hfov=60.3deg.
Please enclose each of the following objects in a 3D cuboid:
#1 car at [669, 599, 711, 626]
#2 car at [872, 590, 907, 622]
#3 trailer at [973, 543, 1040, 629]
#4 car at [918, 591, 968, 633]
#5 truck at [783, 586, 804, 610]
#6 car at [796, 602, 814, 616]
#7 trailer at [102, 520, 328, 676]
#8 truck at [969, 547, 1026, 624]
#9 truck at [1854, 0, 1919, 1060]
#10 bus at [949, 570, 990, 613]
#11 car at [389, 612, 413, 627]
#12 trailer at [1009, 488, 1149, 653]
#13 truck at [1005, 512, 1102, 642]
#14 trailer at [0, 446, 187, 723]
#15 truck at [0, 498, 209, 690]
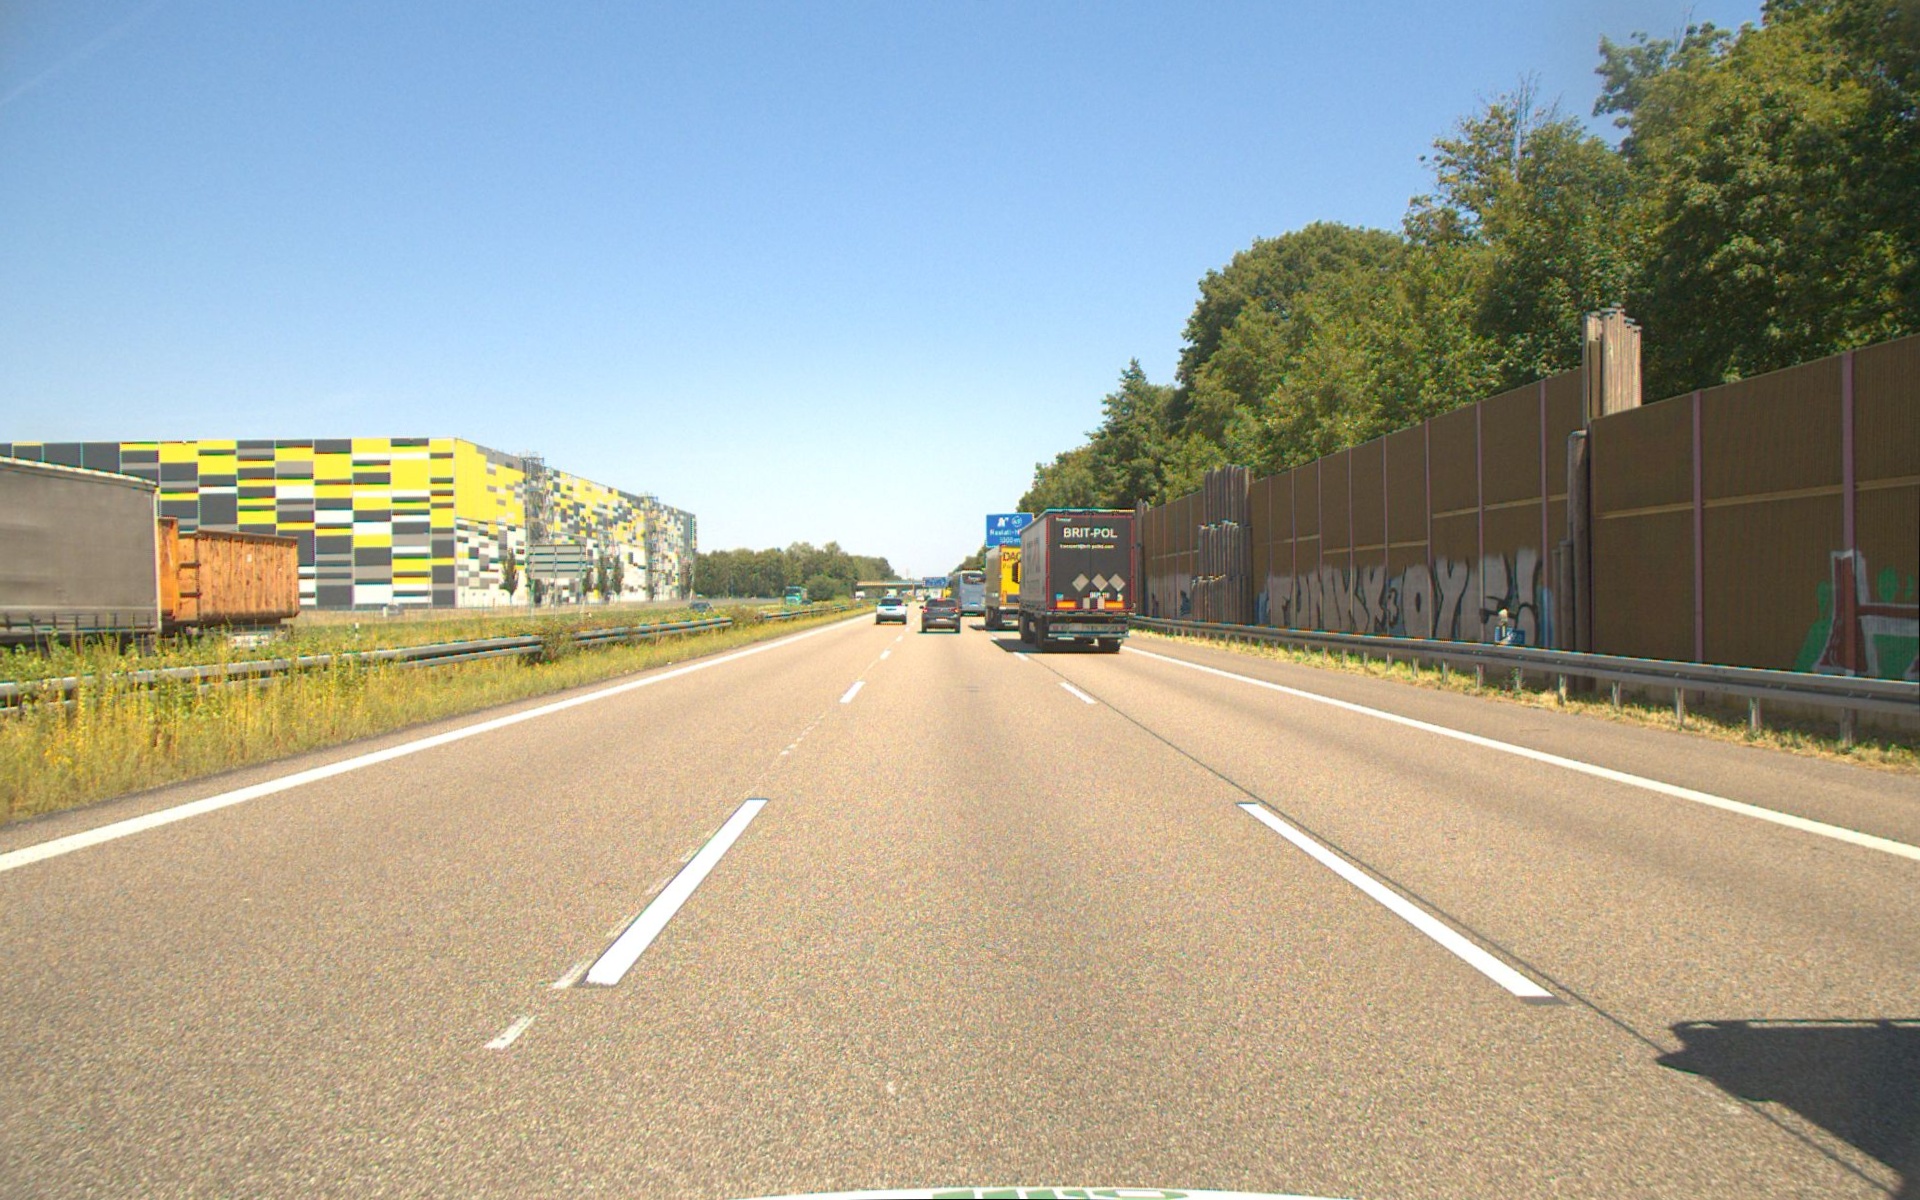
[{"bbox_3d":[-18.641,0.884,114.390,1.953,1.709,5.551,-2,-1,-1],"label":"car"},{"bbox_3d":[-4.047,0.332,95.604,1.953,1.758,4.129,0,0,-2],"label":"car"},{"bbox_3d":[2.239,-0.696,83.317,2.777,4.023,11.680,0,0,-1],"label":"trailer"},{"bbox_3d":[-0.795,0.518,75.234,2.171,1.821,5.392,-1,0,-1],"label":"car"},{"bbox_3d":[-24.218,-0.278,240.751,2.643,3.307,5.836,-1,0,-1],"label":"truck"},{"bbox_3d":[-20.258,1.148,216.451,1.953,1.668,5.662,-2,0,-1],"label":"car"},{"bbox_3d":[-21.348,-0.065,48.067,2.605,3.988,8.659,-3,0,-1],"label":"trailer"},{"bbox_3d":[2.019,-0.777,91.319,2.756,4.076,6.642,0,0,-2],"label":"truck"},{"bbox_3d":[4.646,-0.607,3.187,2.942,4.197,5.251,0,0,-1],"label":"truck"},{"bbox_3d":[0.735,-0.691,137.005,3.001,3.385,8.270,-1,0,-2],"label":"bus"},{"bbox_3d":[-67.971,2.355,201.243,1.650,1.757,4.110,-1,0,-3],"label":"car"},{"bbox_3d":[3.533,-0.809,53.543,3.043,4.585,14.890,0,0,-2],"label":"trailer"},{"bbox_3d":[3.363,-0.780,60.793,3.025,4.518,6.050,0,0,-2],"label":"truck"},{"bbox_3d":[-17.174,-0.216,26.829,3.131,4.499,13.322,-2,0,-1],"label":"trailer"},{"bbox_3d":[-21.166,-0.059,38.282,2.595,3.952,10.824,-3,0,-1],"label":"truck"}]
